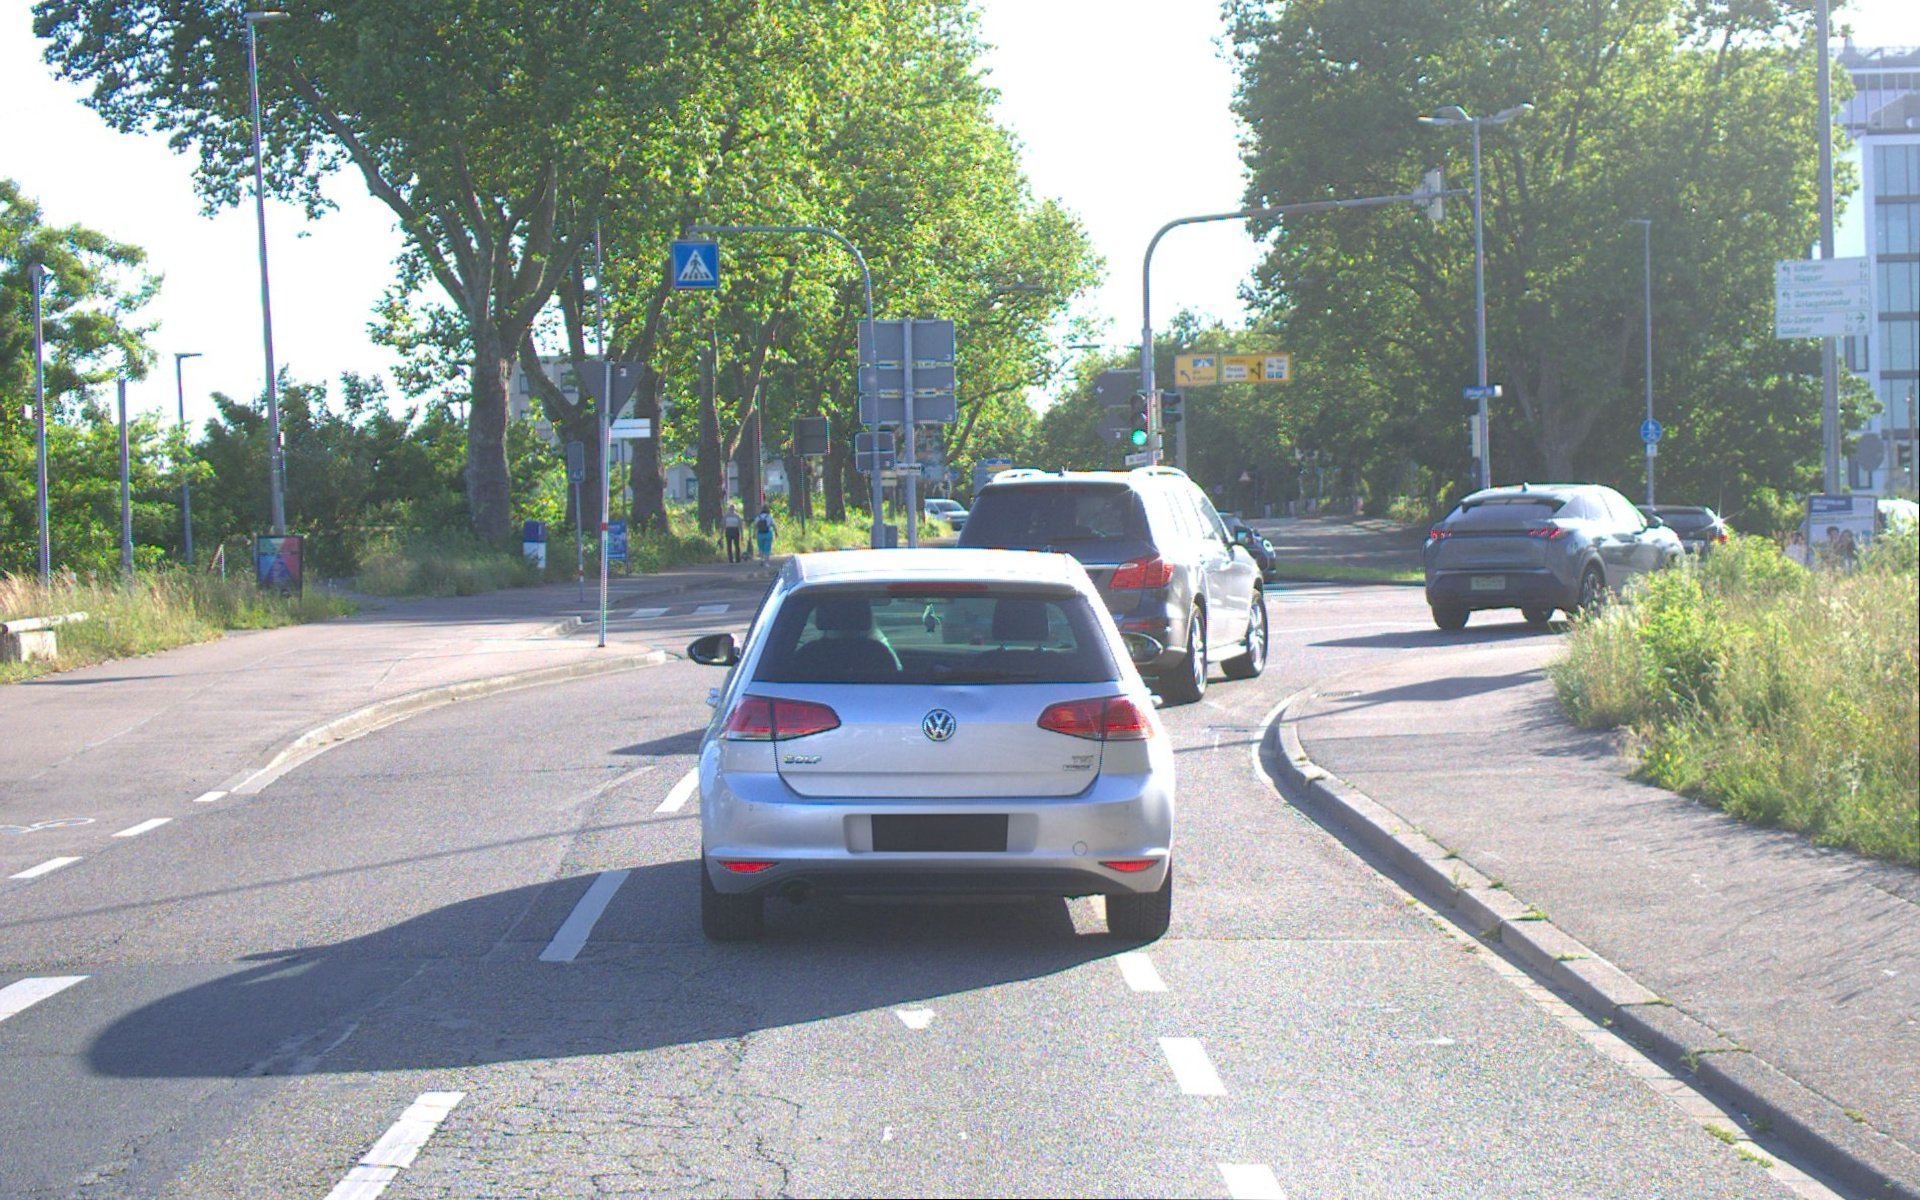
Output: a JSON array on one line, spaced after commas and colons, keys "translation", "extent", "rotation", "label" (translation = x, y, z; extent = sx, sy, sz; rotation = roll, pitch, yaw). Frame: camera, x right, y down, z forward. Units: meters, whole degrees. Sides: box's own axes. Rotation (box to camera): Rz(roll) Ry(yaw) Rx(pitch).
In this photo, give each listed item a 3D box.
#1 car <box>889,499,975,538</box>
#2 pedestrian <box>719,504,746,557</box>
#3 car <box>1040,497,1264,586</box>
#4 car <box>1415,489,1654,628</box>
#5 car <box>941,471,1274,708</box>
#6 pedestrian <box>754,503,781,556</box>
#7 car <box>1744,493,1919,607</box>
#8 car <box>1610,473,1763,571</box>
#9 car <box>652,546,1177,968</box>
[{"translation": [-1.467, -4.297, 180.599], "extent": [3.993, 2.007, 1.997], "rotation": [0, 1, 27], "label": "car"}, {"translation": [-6.075, -1.867, 91.885], "extent": [0.678, 1.410, 0.684], "rotation": [0, 1, 0], "label": "pedestrian"}, {"translation": [3.530, -1.085, 63.640], "extent": [1.994, 1.590, 3.999], "rotation": [-1, 2, -38], "label": "car"}, {"translation": [6.741, -0.506, 39.992], "extent": [1.916, 1.524, 4.403], "rotation": [0, 1, 21], "label": "car"}, {"translation": [1.297, -0.129, 27.945], "extent": [1.820, 1.762, 4.626], "rotation": [0, 1, 14], "label": "car"}, {"translation": [-5.137, -1.873, 91.710], "extent": [0.678, 1.410, 0.684], "rotation": [0, 1, 0], "label": "pedestrian"}, {"translation": [13.200, -0.748, 50.163], "extent": [1.903, 1.590, 3.991], "rotation": [0, 1, 38], "label": "car"}, {"translation": [13.582, -1.430, 64.464], "extent": [1.993, 1.722, 4.000], "rotation": [0, 0, 0], "label": "car"}, {"translation": [-0.092, 0.508, 13.785], "extent": [1.790, 1.415, 4.000], "rotation": [0, 1, 2], "label": "car"}]
